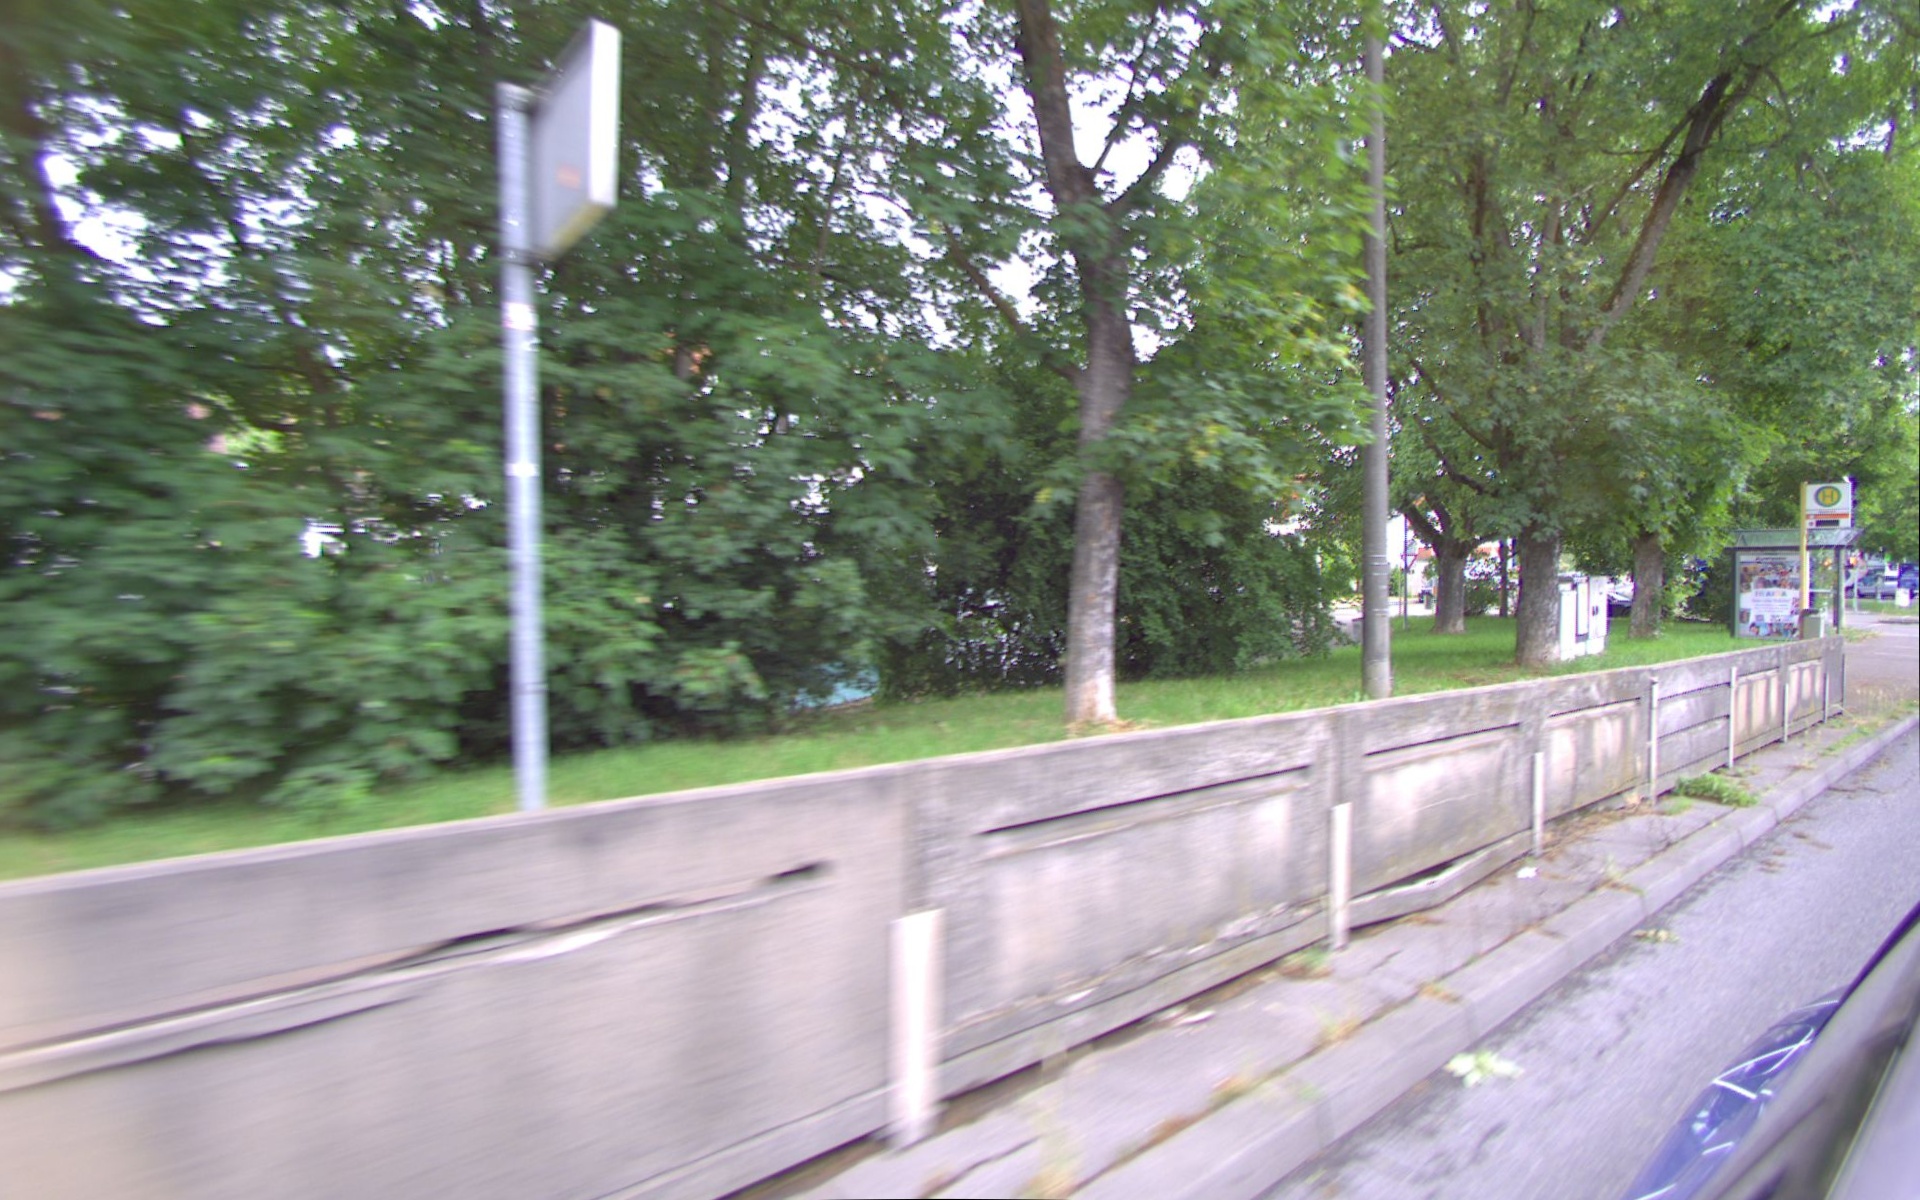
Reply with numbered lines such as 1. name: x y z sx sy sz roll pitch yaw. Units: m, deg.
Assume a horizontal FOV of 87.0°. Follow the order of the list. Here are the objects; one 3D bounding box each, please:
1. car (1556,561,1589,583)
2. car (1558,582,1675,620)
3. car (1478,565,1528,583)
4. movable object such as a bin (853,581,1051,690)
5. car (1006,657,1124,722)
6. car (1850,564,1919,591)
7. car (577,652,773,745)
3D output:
1. car: 55.070 -2.500 90.901 1.938 1.865 4.193 -1 1 39
2. car: 29.981 0.006 46.355 1.671 1.544 4.170 -2 3 -32
3. car: 48.938 -2.325 91.246 1.743 1.475 3.557 -2 1 -37
4. movable object such as a bin: -0.070 0.865 28.720 1.991 2.656 6.180 -1 1 41
5. car: 3.007 2.452 28.430 1.475 1.403 3.787 -1 1 39
6. car: 61.152 -1.477 66.168 4.183 1.718 1.819 2 3 34
7. car: -5.340 1.802 19.278 1.414 1.342 3.401 -1 1 39
